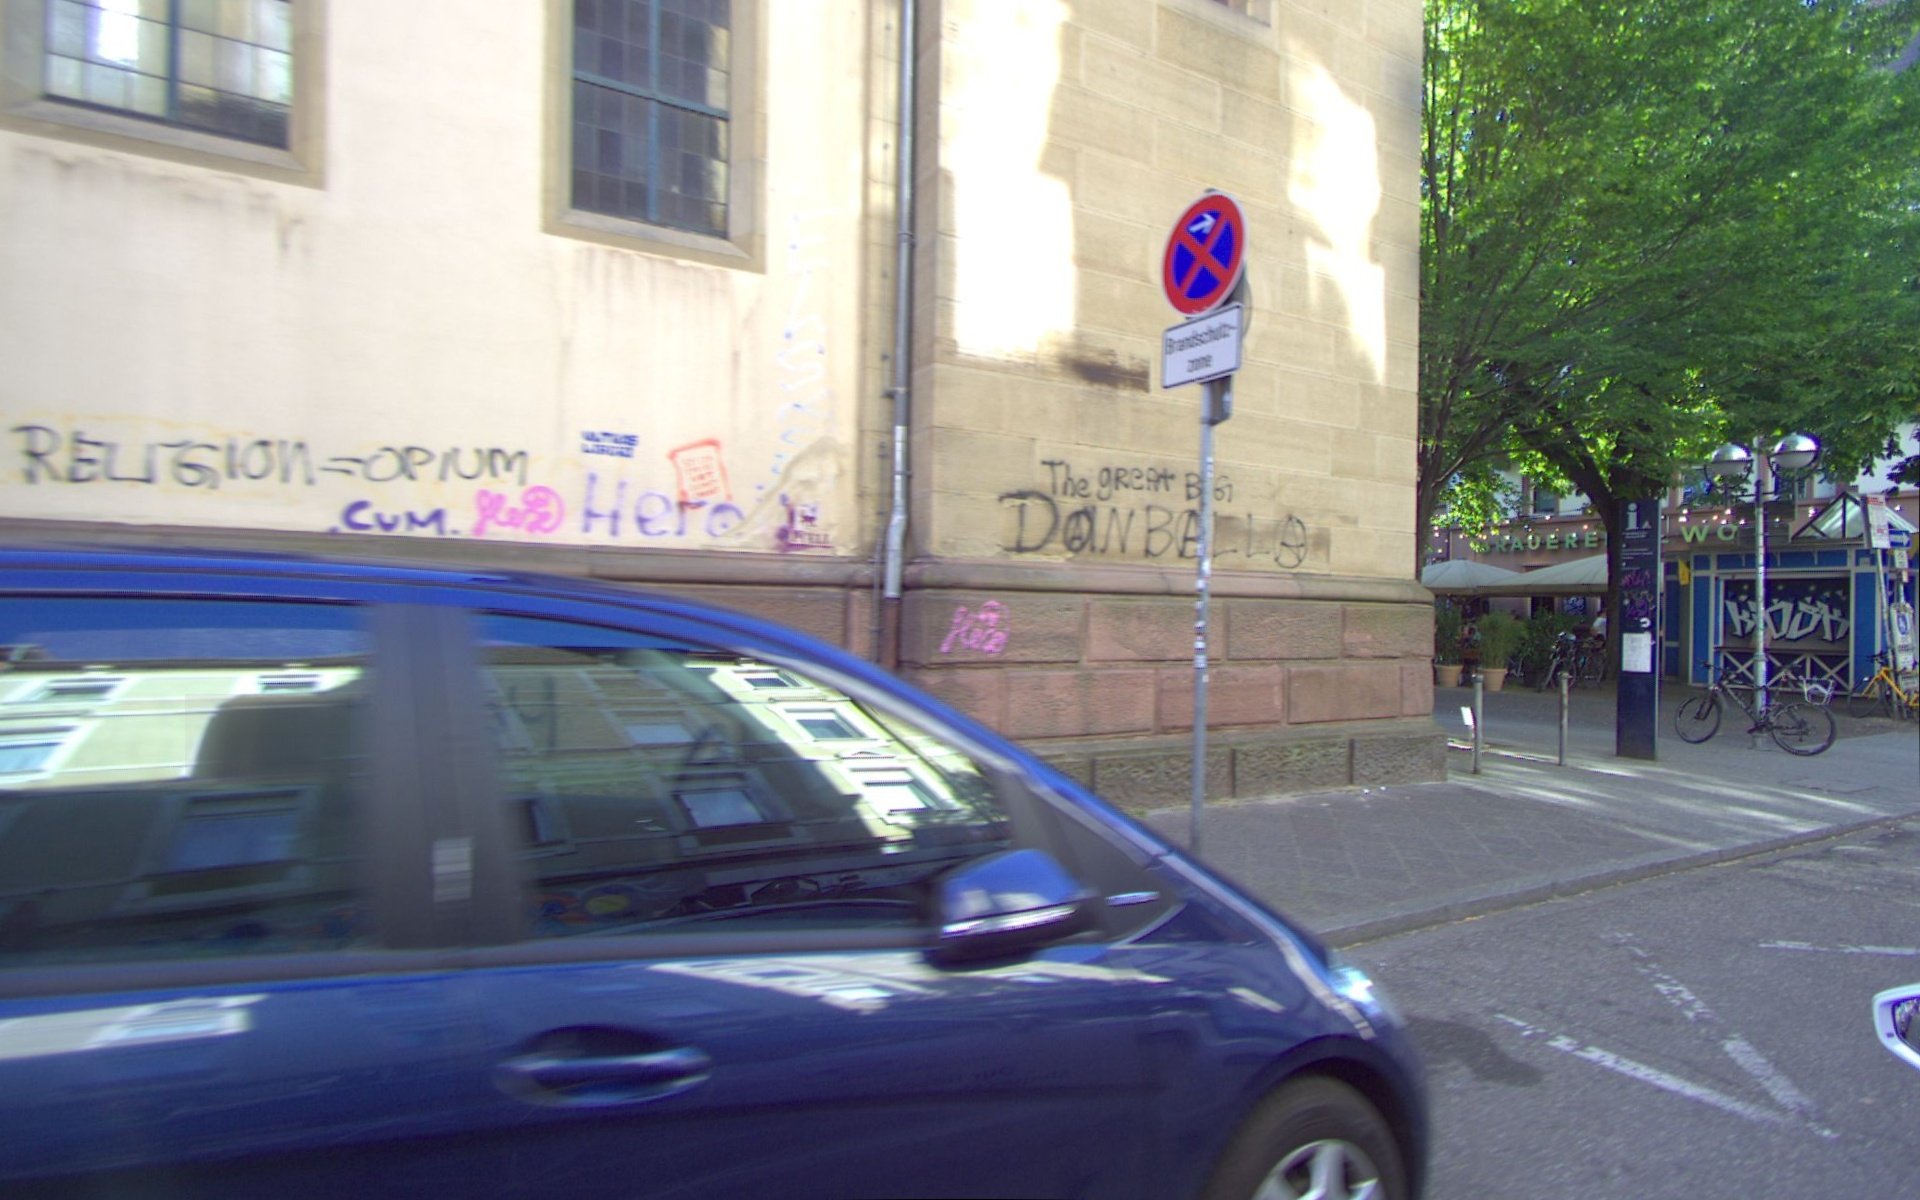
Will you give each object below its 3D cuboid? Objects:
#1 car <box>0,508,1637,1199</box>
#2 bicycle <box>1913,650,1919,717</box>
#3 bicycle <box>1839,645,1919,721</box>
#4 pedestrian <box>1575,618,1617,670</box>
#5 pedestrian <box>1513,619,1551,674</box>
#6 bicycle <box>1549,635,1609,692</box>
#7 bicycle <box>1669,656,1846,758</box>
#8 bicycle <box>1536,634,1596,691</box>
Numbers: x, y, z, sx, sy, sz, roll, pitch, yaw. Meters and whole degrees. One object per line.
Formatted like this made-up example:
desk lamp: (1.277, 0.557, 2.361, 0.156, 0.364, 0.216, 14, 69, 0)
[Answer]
car: (-0.649, 0.720, 1.977, 3.789, 1.572, 1.785, 2, 0, -30)
bicycle: (15.837, 1.326, 16.170, 1.560, 1.060, 0.291, 0, 1, -31)
bicycle: (14.671, 1.292, 15.584, 0.341, 1.097, 1.572, 2, 0, -19)
pedestrian: (16.846, 1.151, 26.617, 0.604, 1.338, 0.696, 2, 0, -22)
pedestrian: (14.298, 1.153, 25.096, 0.627, 1.338, 0.565, 2, 0, -31)
bicycle: (13.093, 1.329, 21.233, 1.915, 1.106, 0.227, 0, 1, -31)
bicycle: (9.830, 1.288, 12.452, 0.343, 1.079, 1.681, 2, 0, -31)
bicycle: (12.956, 1.320, 21.472, 1.915, 1.106, 0.227, -1, 2, -31)
